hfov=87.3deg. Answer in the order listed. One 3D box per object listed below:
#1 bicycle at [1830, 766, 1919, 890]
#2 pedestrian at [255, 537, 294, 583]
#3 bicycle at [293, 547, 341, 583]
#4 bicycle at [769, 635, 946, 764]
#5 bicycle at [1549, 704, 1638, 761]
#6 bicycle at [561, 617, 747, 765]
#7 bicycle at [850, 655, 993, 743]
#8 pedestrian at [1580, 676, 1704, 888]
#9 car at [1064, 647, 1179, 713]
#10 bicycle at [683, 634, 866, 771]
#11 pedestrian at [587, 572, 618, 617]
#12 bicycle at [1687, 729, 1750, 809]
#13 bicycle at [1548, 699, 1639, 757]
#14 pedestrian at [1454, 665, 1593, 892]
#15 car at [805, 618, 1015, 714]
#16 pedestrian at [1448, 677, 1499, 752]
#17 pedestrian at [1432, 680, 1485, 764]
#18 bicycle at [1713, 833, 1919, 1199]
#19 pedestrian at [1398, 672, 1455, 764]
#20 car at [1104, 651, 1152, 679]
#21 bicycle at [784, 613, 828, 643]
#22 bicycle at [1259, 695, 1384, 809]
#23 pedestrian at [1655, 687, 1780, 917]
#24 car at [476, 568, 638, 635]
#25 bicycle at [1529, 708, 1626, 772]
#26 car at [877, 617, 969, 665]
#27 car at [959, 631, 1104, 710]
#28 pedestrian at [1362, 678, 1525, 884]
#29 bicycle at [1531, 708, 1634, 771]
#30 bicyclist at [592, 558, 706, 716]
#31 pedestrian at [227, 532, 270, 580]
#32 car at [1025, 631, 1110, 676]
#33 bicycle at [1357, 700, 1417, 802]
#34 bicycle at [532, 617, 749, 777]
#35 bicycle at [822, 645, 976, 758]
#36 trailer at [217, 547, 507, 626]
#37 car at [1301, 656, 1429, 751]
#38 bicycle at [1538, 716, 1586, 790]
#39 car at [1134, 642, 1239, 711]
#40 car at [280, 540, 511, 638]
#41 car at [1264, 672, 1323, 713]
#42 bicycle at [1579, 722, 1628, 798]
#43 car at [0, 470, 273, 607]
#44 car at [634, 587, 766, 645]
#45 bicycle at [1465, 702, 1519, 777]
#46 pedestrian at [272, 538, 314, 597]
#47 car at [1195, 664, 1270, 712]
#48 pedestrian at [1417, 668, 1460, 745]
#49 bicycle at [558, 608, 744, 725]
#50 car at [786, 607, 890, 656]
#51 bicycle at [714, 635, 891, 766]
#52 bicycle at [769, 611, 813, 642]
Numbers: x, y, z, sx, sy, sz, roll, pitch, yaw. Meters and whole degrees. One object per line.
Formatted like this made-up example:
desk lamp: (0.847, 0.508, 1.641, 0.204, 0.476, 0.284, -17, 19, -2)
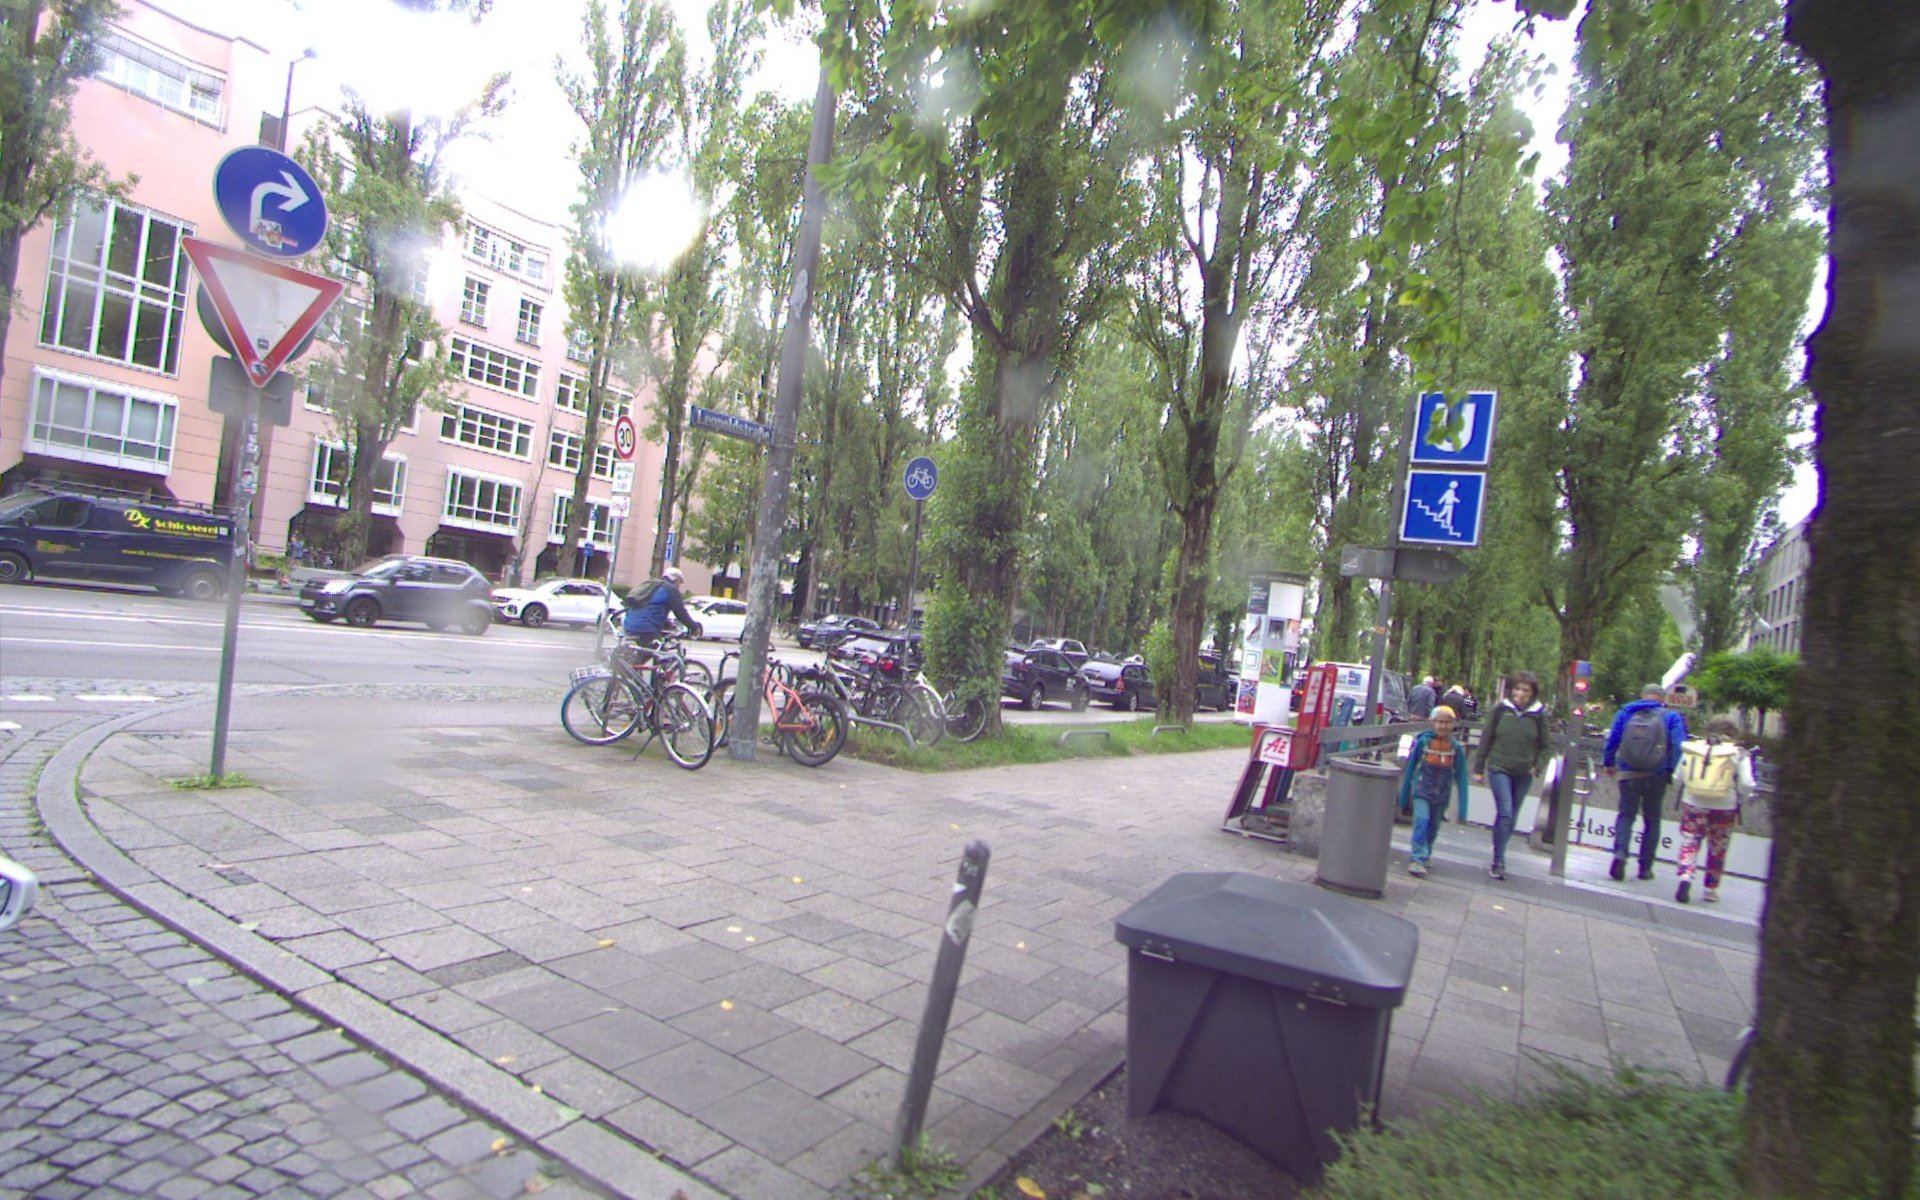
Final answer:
bicycle: (10.674, 2.589, 11.606, 0.578, 1.173, 1.866, 7, -1, 33)
pedestrian: (-22.761, -1.321, 33.423, 0.698, 1.385, 0.730, 7, -1, 33)
bicycle: (-24.054, -1.316, 37.635, 1.956, 1.138, 0.674, 7, 0, 33)
bicycle: (-1.149, 1.060, 11.023, 1.899, 1.118, 0.512, 6, -1, 32)
bicycle: (16.588, 3.451, 26.359, 1.839, 1.173, 0.586, 7, -1, 34)
bicycle: (-2.874, 0.815, 9.356, 1.846, 1.063, 0.475, 7, 0, 34)
bicycle: (-0.504, 1.214, 12.483, 1.806, 0.827, 0.470, 6, -1, 37)
pedestrian: (6.100, 1.593, 8.992, 0.655, 1.716, 0.802, 7, 0, 41)
car: (4.823, 2.403, 29.556, 1.719, 1.544, 4.229, 9, -1, 31)
bicycle: (-1.834, 0.961, 9.788, 1.846, 1.063, 0.475, 5, -1, 34)
pedestrian: (-14.671, -0.227, 41.305, 0.698, 1.734, 0.730, 7, -1, 33)
bicycle: (12.770, 2.809, 16.967, 0.578, 1.173, 1.866, 7, -1, 33)
bicycle: (16.260, 3.267, 25.855, 1.839, 1.173, 0.586, 7, -1, 34)
pedestrian: (4.708, 1.464, 8.404, 0.686, 1.721, 0.656, 7, 0, -43)
car: (-0.869, 1.396, 20.274, 1.729, 1.444, 4.437, 9, -1, 35)
pedestrian: (14.049, 3.133, 27.529, 0.905, 1.888, 1.011, 7, -1, 37)
pedestrian: (10.420, 2.548, 21.012, 0.687, 1.625, 0.831, 7, -1, 37)
bicycle: (3.097, 1.388, 2.507, 1.850, 1.150, 0.474, 7, -1, 41)
pedestrian: (9.915, 2.503, 21.376, 0.739, 1.824, 0.840, 7, -1, 37)
car: (11.671, 4.530, 69.747, 1.738, 1.598, 3.964, 7, 0, 32)
bicycle: (-7.232, 1.322, 47.274, 1.956, 1.138, 0.674, 7, 0, 33)
bicycle: (4.287, 1.781, 11.859, 0.580, 1.173, 1.860, 7, -1, 43)
pedestrian: (6.230, 1.617, 8.265, 0.602, 1.700, 0.842, 7, 0, 41)
car: (-12.172, 0.088, 30.660, 1.778, 1.560, 4.225, 5, -2, 34)
bicycle: (14.631, 3.301, 23.864, 1.839, 1.173, 0.586, 7, -1, 34)
car: (-1.723, 2.022, 48.728, 1.967, 1.818, 4.754, 7, -1, 31)
car: (1.839, 1.782, 24.748, 1.720, 1.545, 3.901, 8, -1, 33)
pedestrian: (3.859, 1.407, 8.034, 0.766, 1.436, 0.808, 7, 0, -43)
bicycle: (15.036, 3.355, 24.336, 1.999, 1.173, 0.586, 7, -1, 34)
bicyclist: (-3.470, 0.419, 11.239, 0.712, 1.638, 0.755, 7, 0, 32)
pedestrian: (-22.918, -1.409, 32.413, 0.718, 1.385, 0.709, 7, -1, 3)
car: (5.143, 2.568, 47.562, 1.967, 1.769, 5.057, 5, -2, 30)
bicycle: (5.760, 1.985, 13.581, 0.577, 1.173, 1.869, 7, -1, 23)
bicycle: (-2.722, 0.788, 8.504, 1.843, 1.063, 0.475, 6, -1, 27)
bicycle: (-0.739, 1.165, 11.791, 1.806, 1.050, 0.512, 6, -1, 37)
trailer: (-15.324, -0.273, 26.232, 2.365, 1.213, 6.027, 7, -2, 33)
car: (10.246, 2.597, 25.197, 1.786, 1.918, 5.192, 7, -2, 34)
bicycle: (10.844, 2.713, 18.089, 0.578, 1.173, 1.866, 7, -1, 33)
car: (7.907, 2.691, 34.753, 1.884, 1.947, 5.034, 9, -1, 30)
car: (-11.820, -0.188, 21.296, 1.819, 1.544, 3.746, 6, -2, 32)
car: (15.985, 4.452, 48.118, 1.719, 1.610, 3.947, 9, -1, 30)
bicycle: (11.343, 2.787, 17.753, 0.578, 1.173, 1.866, 7, -1, 33)
car: (-18.227, -1.295, 21.386, 1.990, 2.223, 5.488, 7, -1, 32)
car: (-9.244, 0.617, 36.118, 1.966, 1.560, 4.319, 7, -1, 30)
bicycle: (9.463, 2.450, 17.853, 0.578, 1.173, 1.981, 7, -1, 33)
pedestrian: (-21.275, -1.028, 32.095, 0.698, 1.734, 0.730, 7, -1, 33)
car: (10.822, 3.503, 39.812, 1.719, 1.545, 3.947, 9, -1, 30)
pedestrian: (12.303, 2.738, 25.861, 0.689, 1.863, 0.705, 7, 0, 35)
bicycle: (-3.438, 0.787, 11.374, 0.708, 1.160, 1.897, 3, -4, 34)
car: (-5.133, 1.382, 42.924, 1.967, 1.560, 4.317, 7, -1, 33)
bicycle: (-1.627, 0.991, 10.229, 1.846, 1.063, 0.475, 5, -1, 34)
bicycle: (-7.845, 1.227, 46.605, 1.956, 1.138, 0.674, 7, 0, 33)
